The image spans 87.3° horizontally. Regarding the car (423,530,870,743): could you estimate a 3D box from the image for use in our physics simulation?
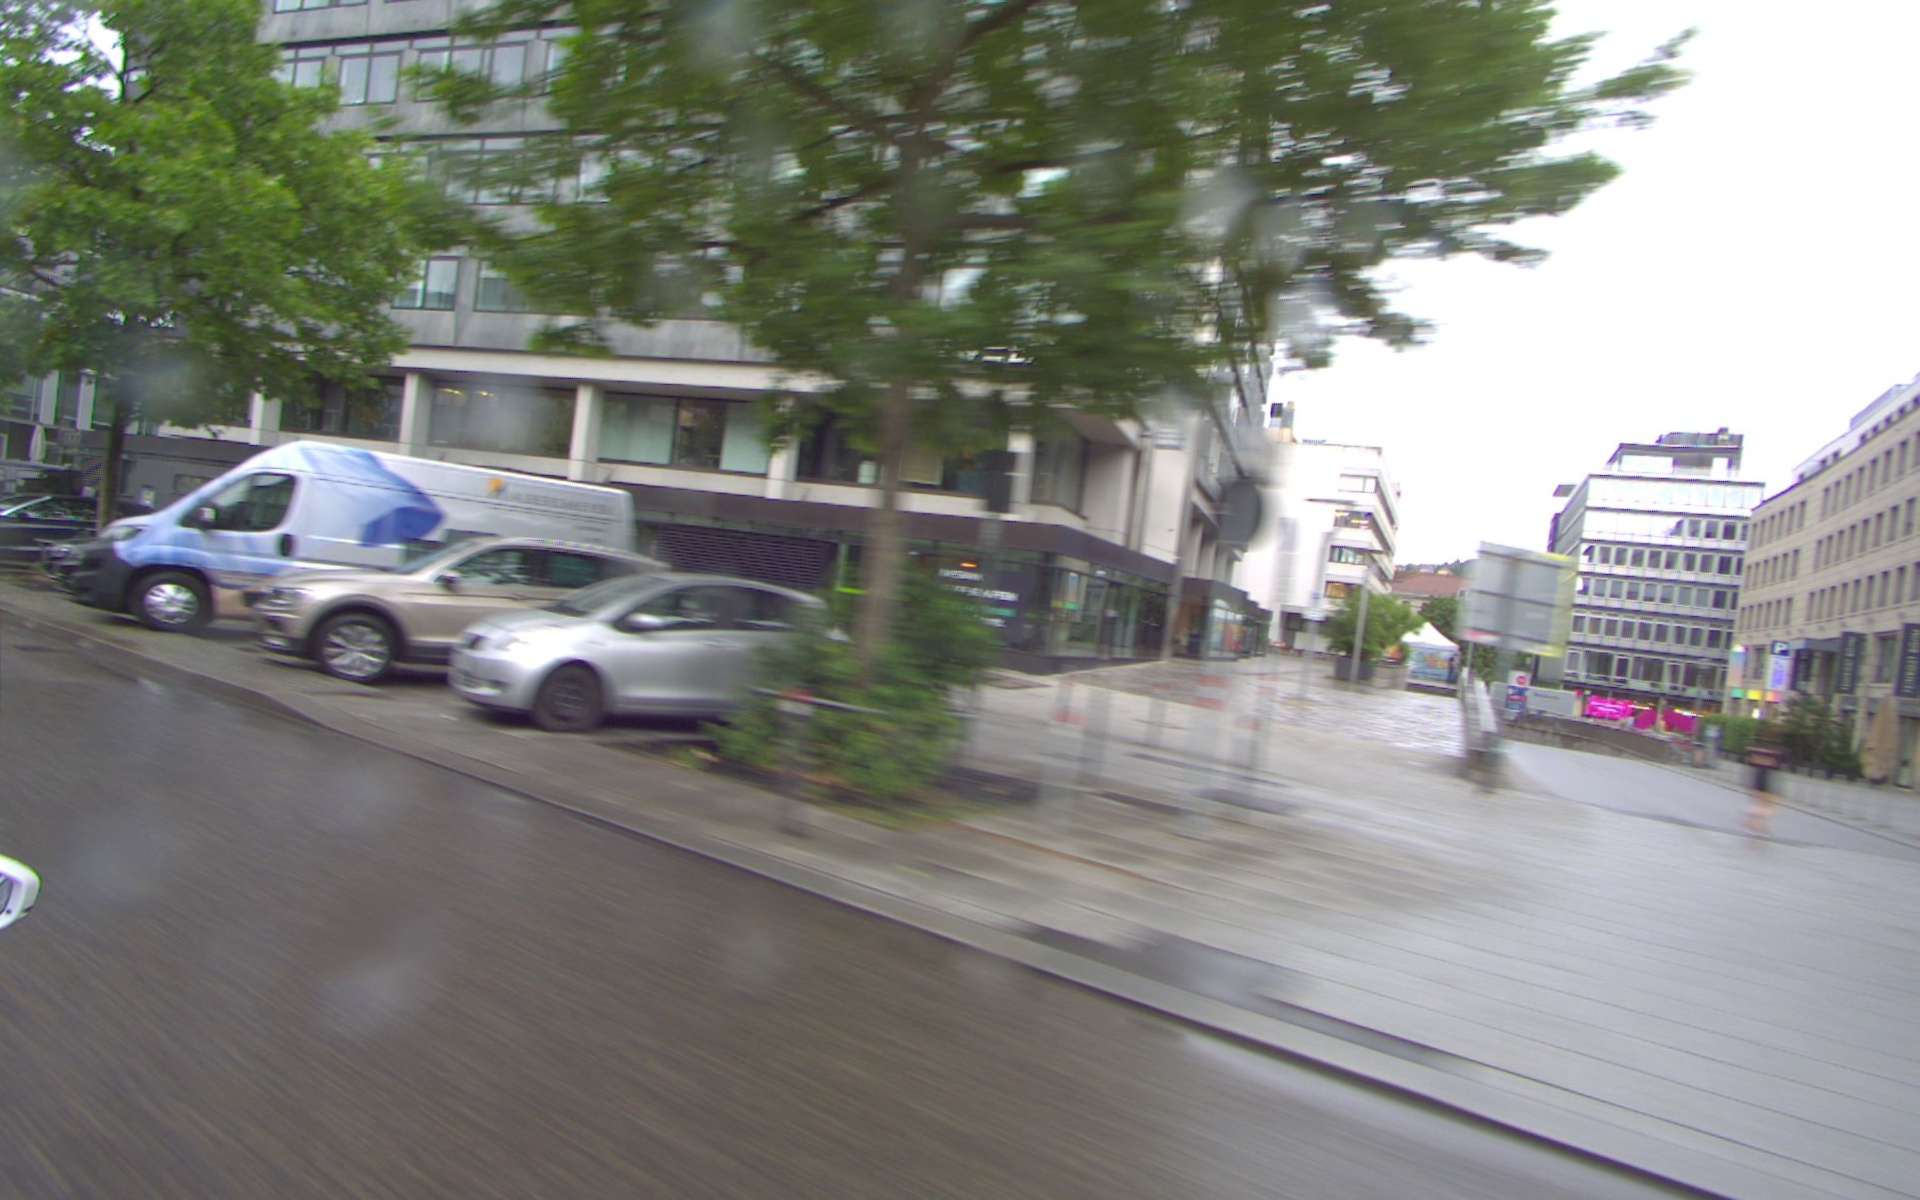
[{"bbox_3d":[-2.922,0.404,9.717,3.633,1.565,1.696,8,-1,-39],"label":"car"}]

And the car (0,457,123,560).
[{"bbox_3d":[-21.590,-2.178,21.844,4.902,2.003,1.913,6,1,-32],"label":"car"}]

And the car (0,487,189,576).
[{"bbox_3d":[-18.719,-1.479,20.408,4.586,1.412,1.833,7,0,-30],"label":"car"}]

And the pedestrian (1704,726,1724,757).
[{"bbox_3d":[42.837,8.054,57.159,0.677,1.651,0.682,7,0,34],"label":"pedestrian"}]

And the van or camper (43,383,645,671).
[{"bbox_3d":[-7.524,-0.707,13.100,6.022,2.589,2.088,7,0,-31],"label":"van or camper"}]

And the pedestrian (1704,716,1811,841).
[{"bbox_3d":[12.130,2.711,15.301,1.176,1.716,0.800,8,0,-34],"label":"pedestrian"}]

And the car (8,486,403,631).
[{"bbox_3d":[-10.890,-0.551,14.984,4.357,1.453,1.925,8,-1,-32],"label":"car"}]

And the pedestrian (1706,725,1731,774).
[{"bbox_3d":[33.317,6.546,44.193,0.562,2.038,0.705,8,0,30],"label":"pedestrian"}]

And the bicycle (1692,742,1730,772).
[{"bbox_3d":[31.789,6.655,42.613,1.176,1.052,0.350,6,-1,32],"label":"bicycle"}]

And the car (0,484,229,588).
[{"bbox_3d":[-16.498,-1.249,18.803,4.334,1.453,1.747,8,-1,-32],"label":"car"}]

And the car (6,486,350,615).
[{"bbox_3d":[-12.519,-0.753,16.509,4.170,1.453,1.706,8,-1,-32],"label":"car"}]

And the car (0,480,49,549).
[{"bbox_3d":[-24.188,-2.244,23.100,4.524,1.526,1.852,6,1,-34],"label":"car"}]

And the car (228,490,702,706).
[{"bbox_3d":[-5.270,0.053,11.071,4.228,1.687,1.803,8,-1,-32],"label":"car"}]
